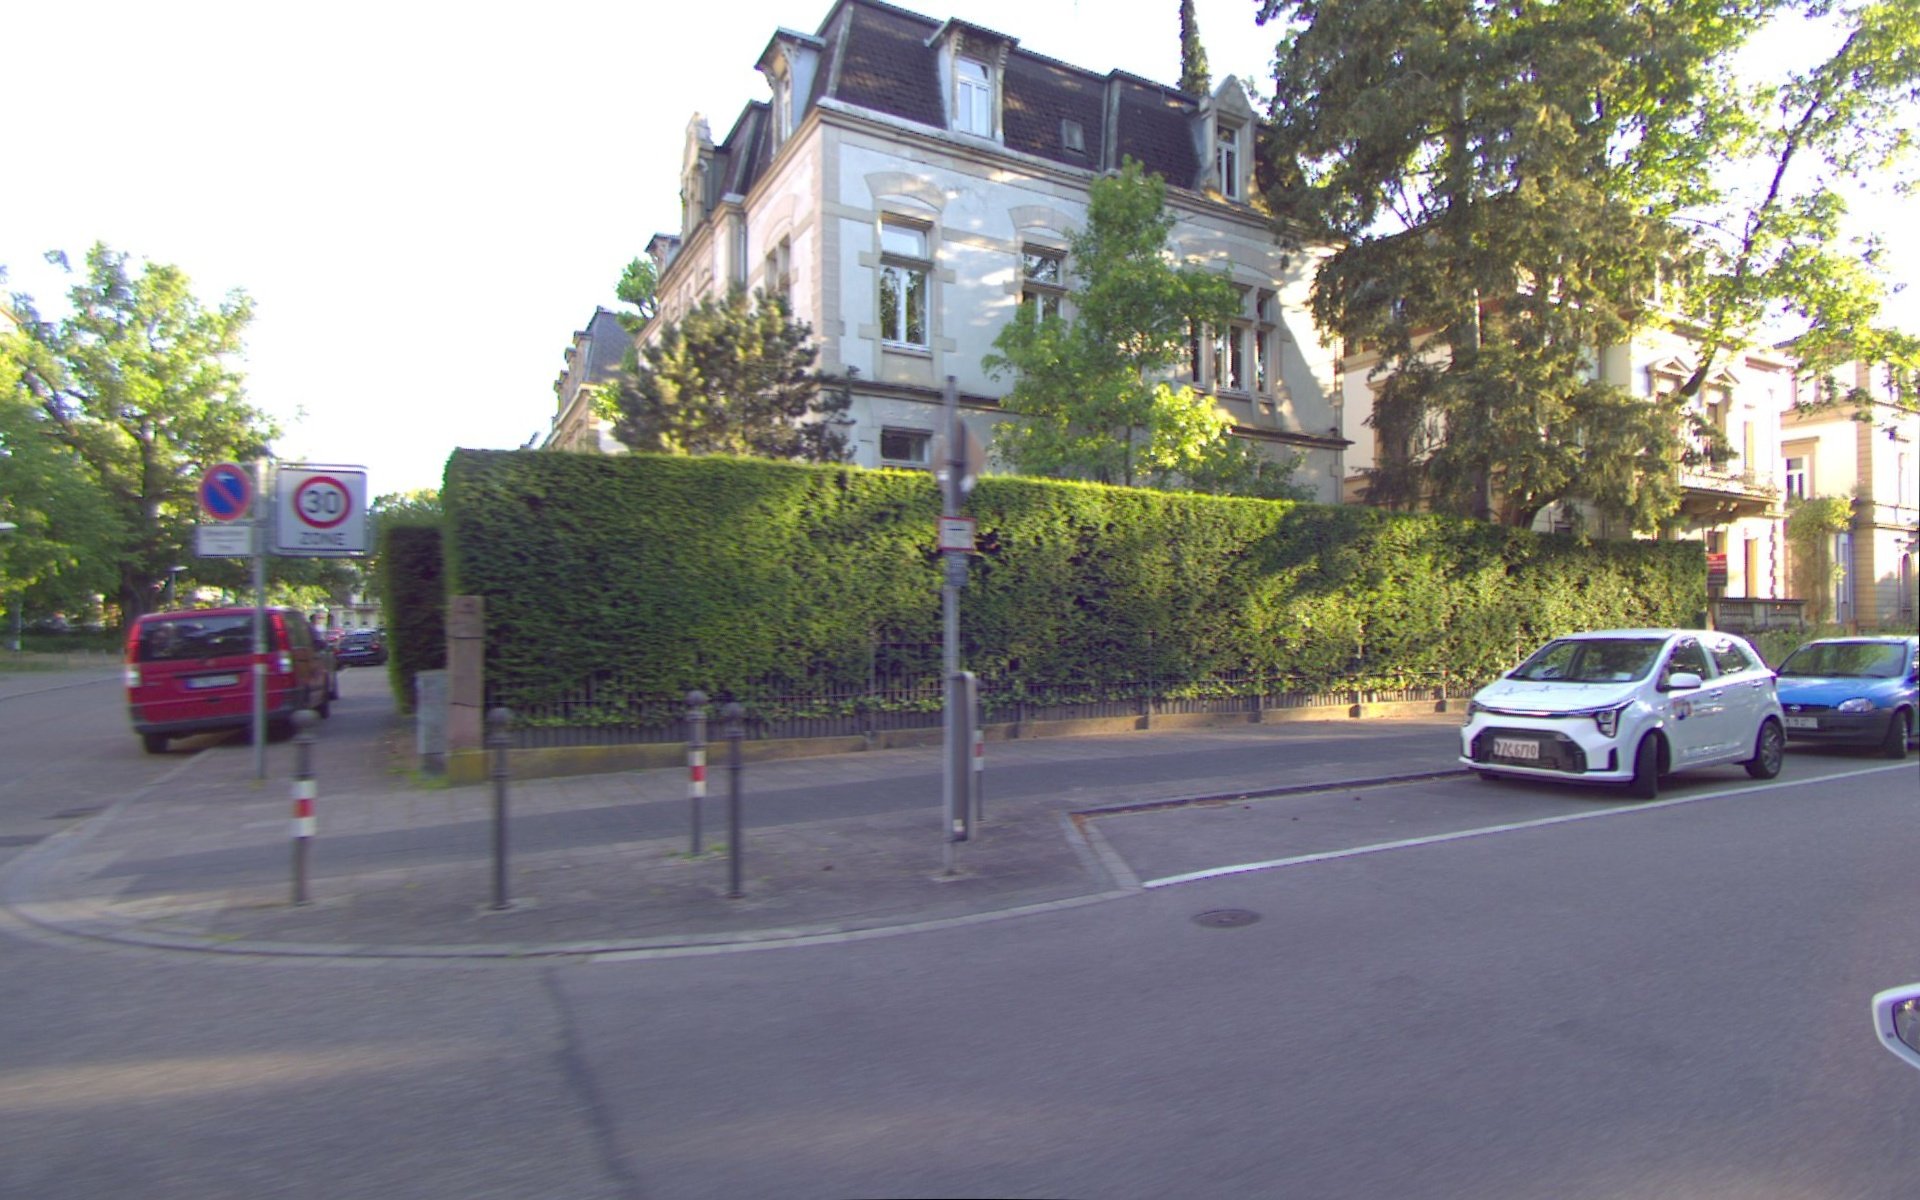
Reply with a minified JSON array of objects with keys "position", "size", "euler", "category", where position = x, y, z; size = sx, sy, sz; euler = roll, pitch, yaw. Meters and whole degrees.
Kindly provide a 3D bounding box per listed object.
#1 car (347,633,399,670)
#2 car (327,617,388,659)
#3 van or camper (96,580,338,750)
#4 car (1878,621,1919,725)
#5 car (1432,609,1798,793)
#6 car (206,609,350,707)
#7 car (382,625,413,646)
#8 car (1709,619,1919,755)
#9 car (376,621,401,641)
[{"position":[-27.123,2.343,46.477],"size":[1.976,1.599,3.969],"euler":[1,-2,-29],"category":"car"},{"position":[-24.540,1.534,41.031],"size":[1.976,1.599,3.969],"euler":[1,-2,-29],"category":"car"},{"position":[-10.807,0.845,15.034],"size":[1.974,2.012,4.753],"euler":[-4,0,-26],"category":"van or camper"},{"position":[15.578,1.079,14.973],"size":[3.986,1.486,1.607],"euler":[1,-2,-29],"category":"car"},{"position":[6.598,0.933,10.054],"size":[3.669,1.535,1.606],"euler":[2,-4,-31],"category":"car"},{"position":[-13.187,1.055,19.650],"size":[1.896,1.695,3.971],"euler":[1,-1,-28],"category":"car"},{"position":[-43.801,2.735,78.240],"size":[1.976,1.599,3.969],"euler":[1,-2,-29],"category":"car"},{"position":[11.388,1.035,12.808],"size":[3.697,1.505,1.606],"euler":[2,-2,-30],"category":"car"},{"position":[-50.942,2.787,89.542],"size":[1.837,1.639,3.968],"euler":[1,0,-30],"category":"car"}]
